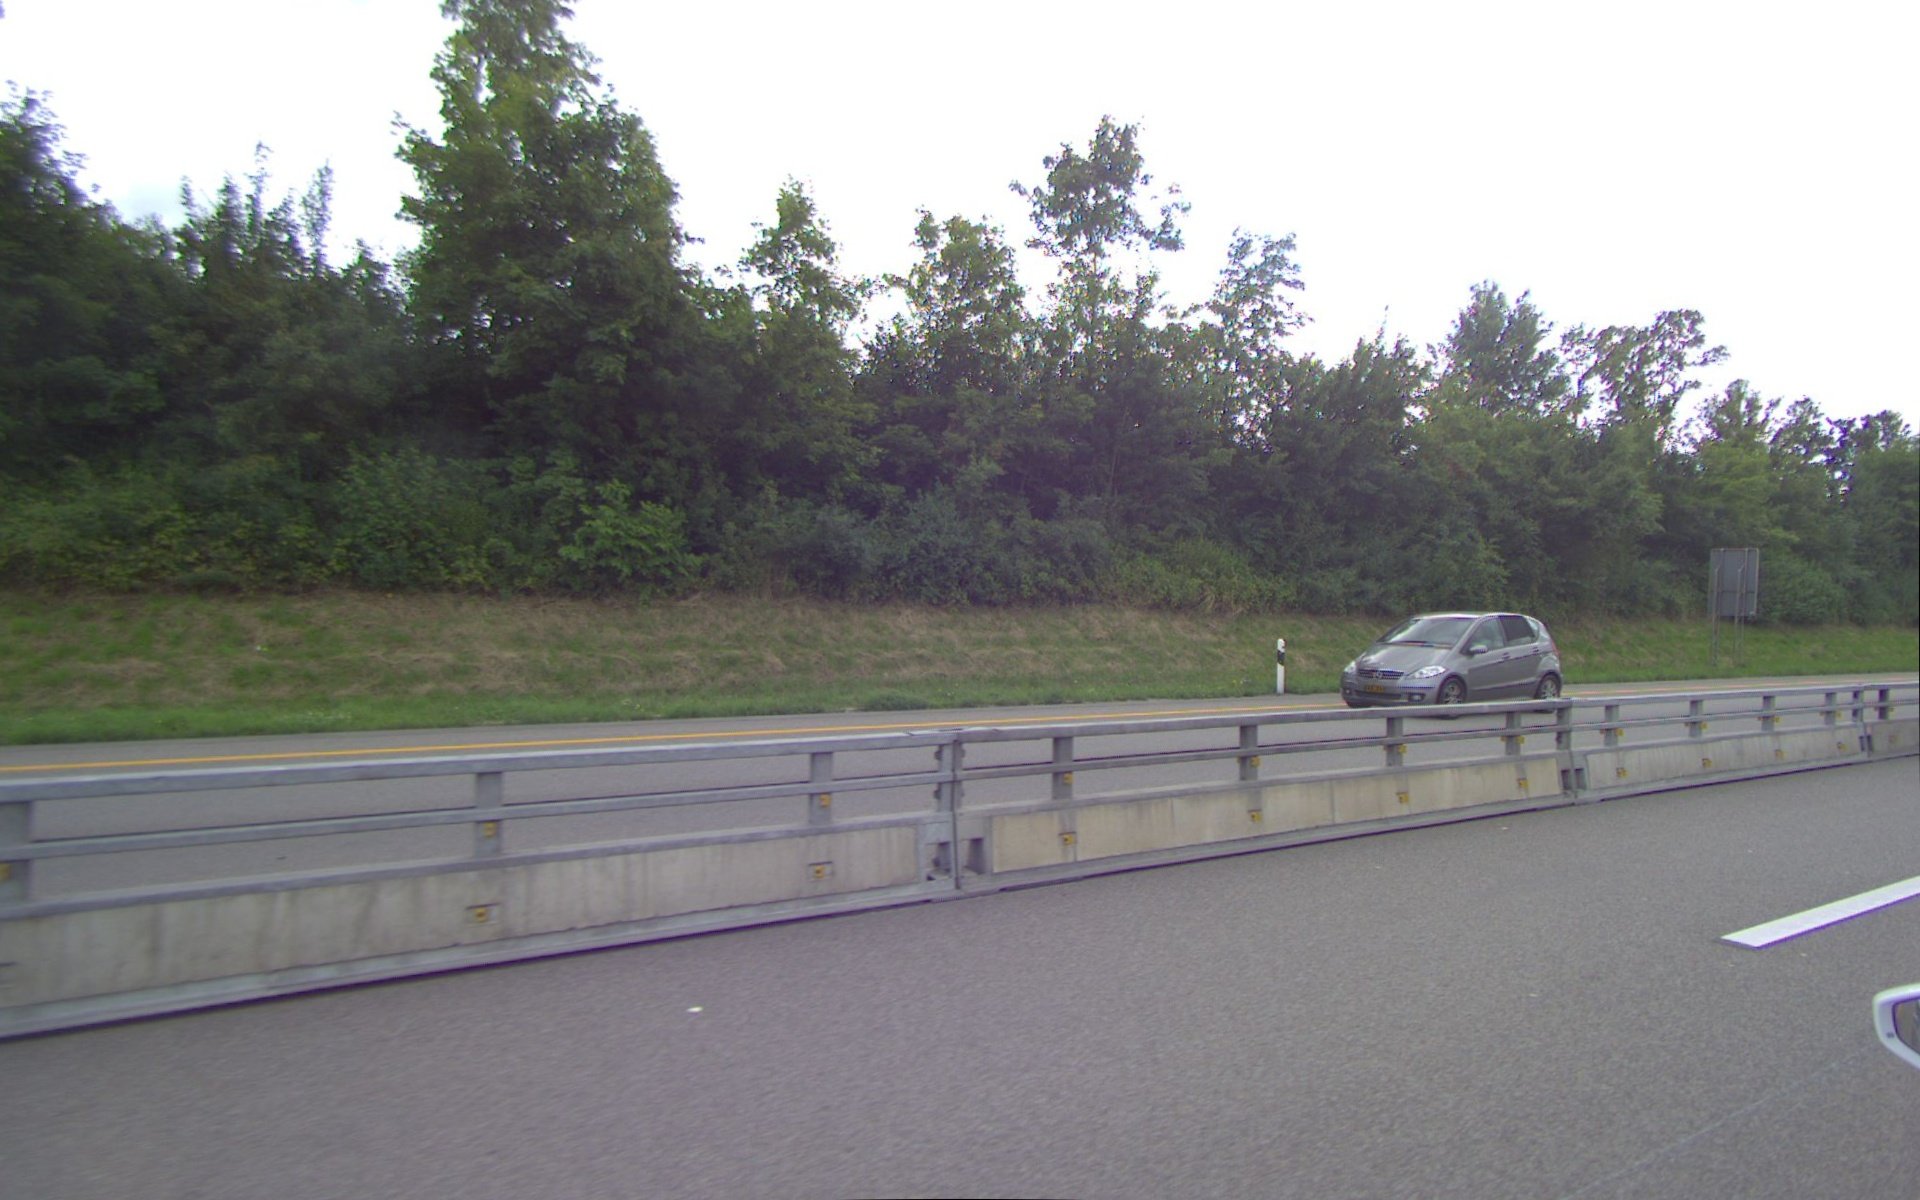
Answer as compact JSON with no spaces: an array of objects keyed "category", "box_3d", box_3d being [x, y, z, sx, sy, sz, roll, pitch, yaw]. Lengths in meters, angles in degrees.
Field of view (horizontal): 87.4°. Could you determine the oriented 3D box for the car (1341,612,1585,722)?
[{"category":"car","box_3d":[8.097,1.014,16.099,3.904,1.571,1.673,1,-1,-31]}]
